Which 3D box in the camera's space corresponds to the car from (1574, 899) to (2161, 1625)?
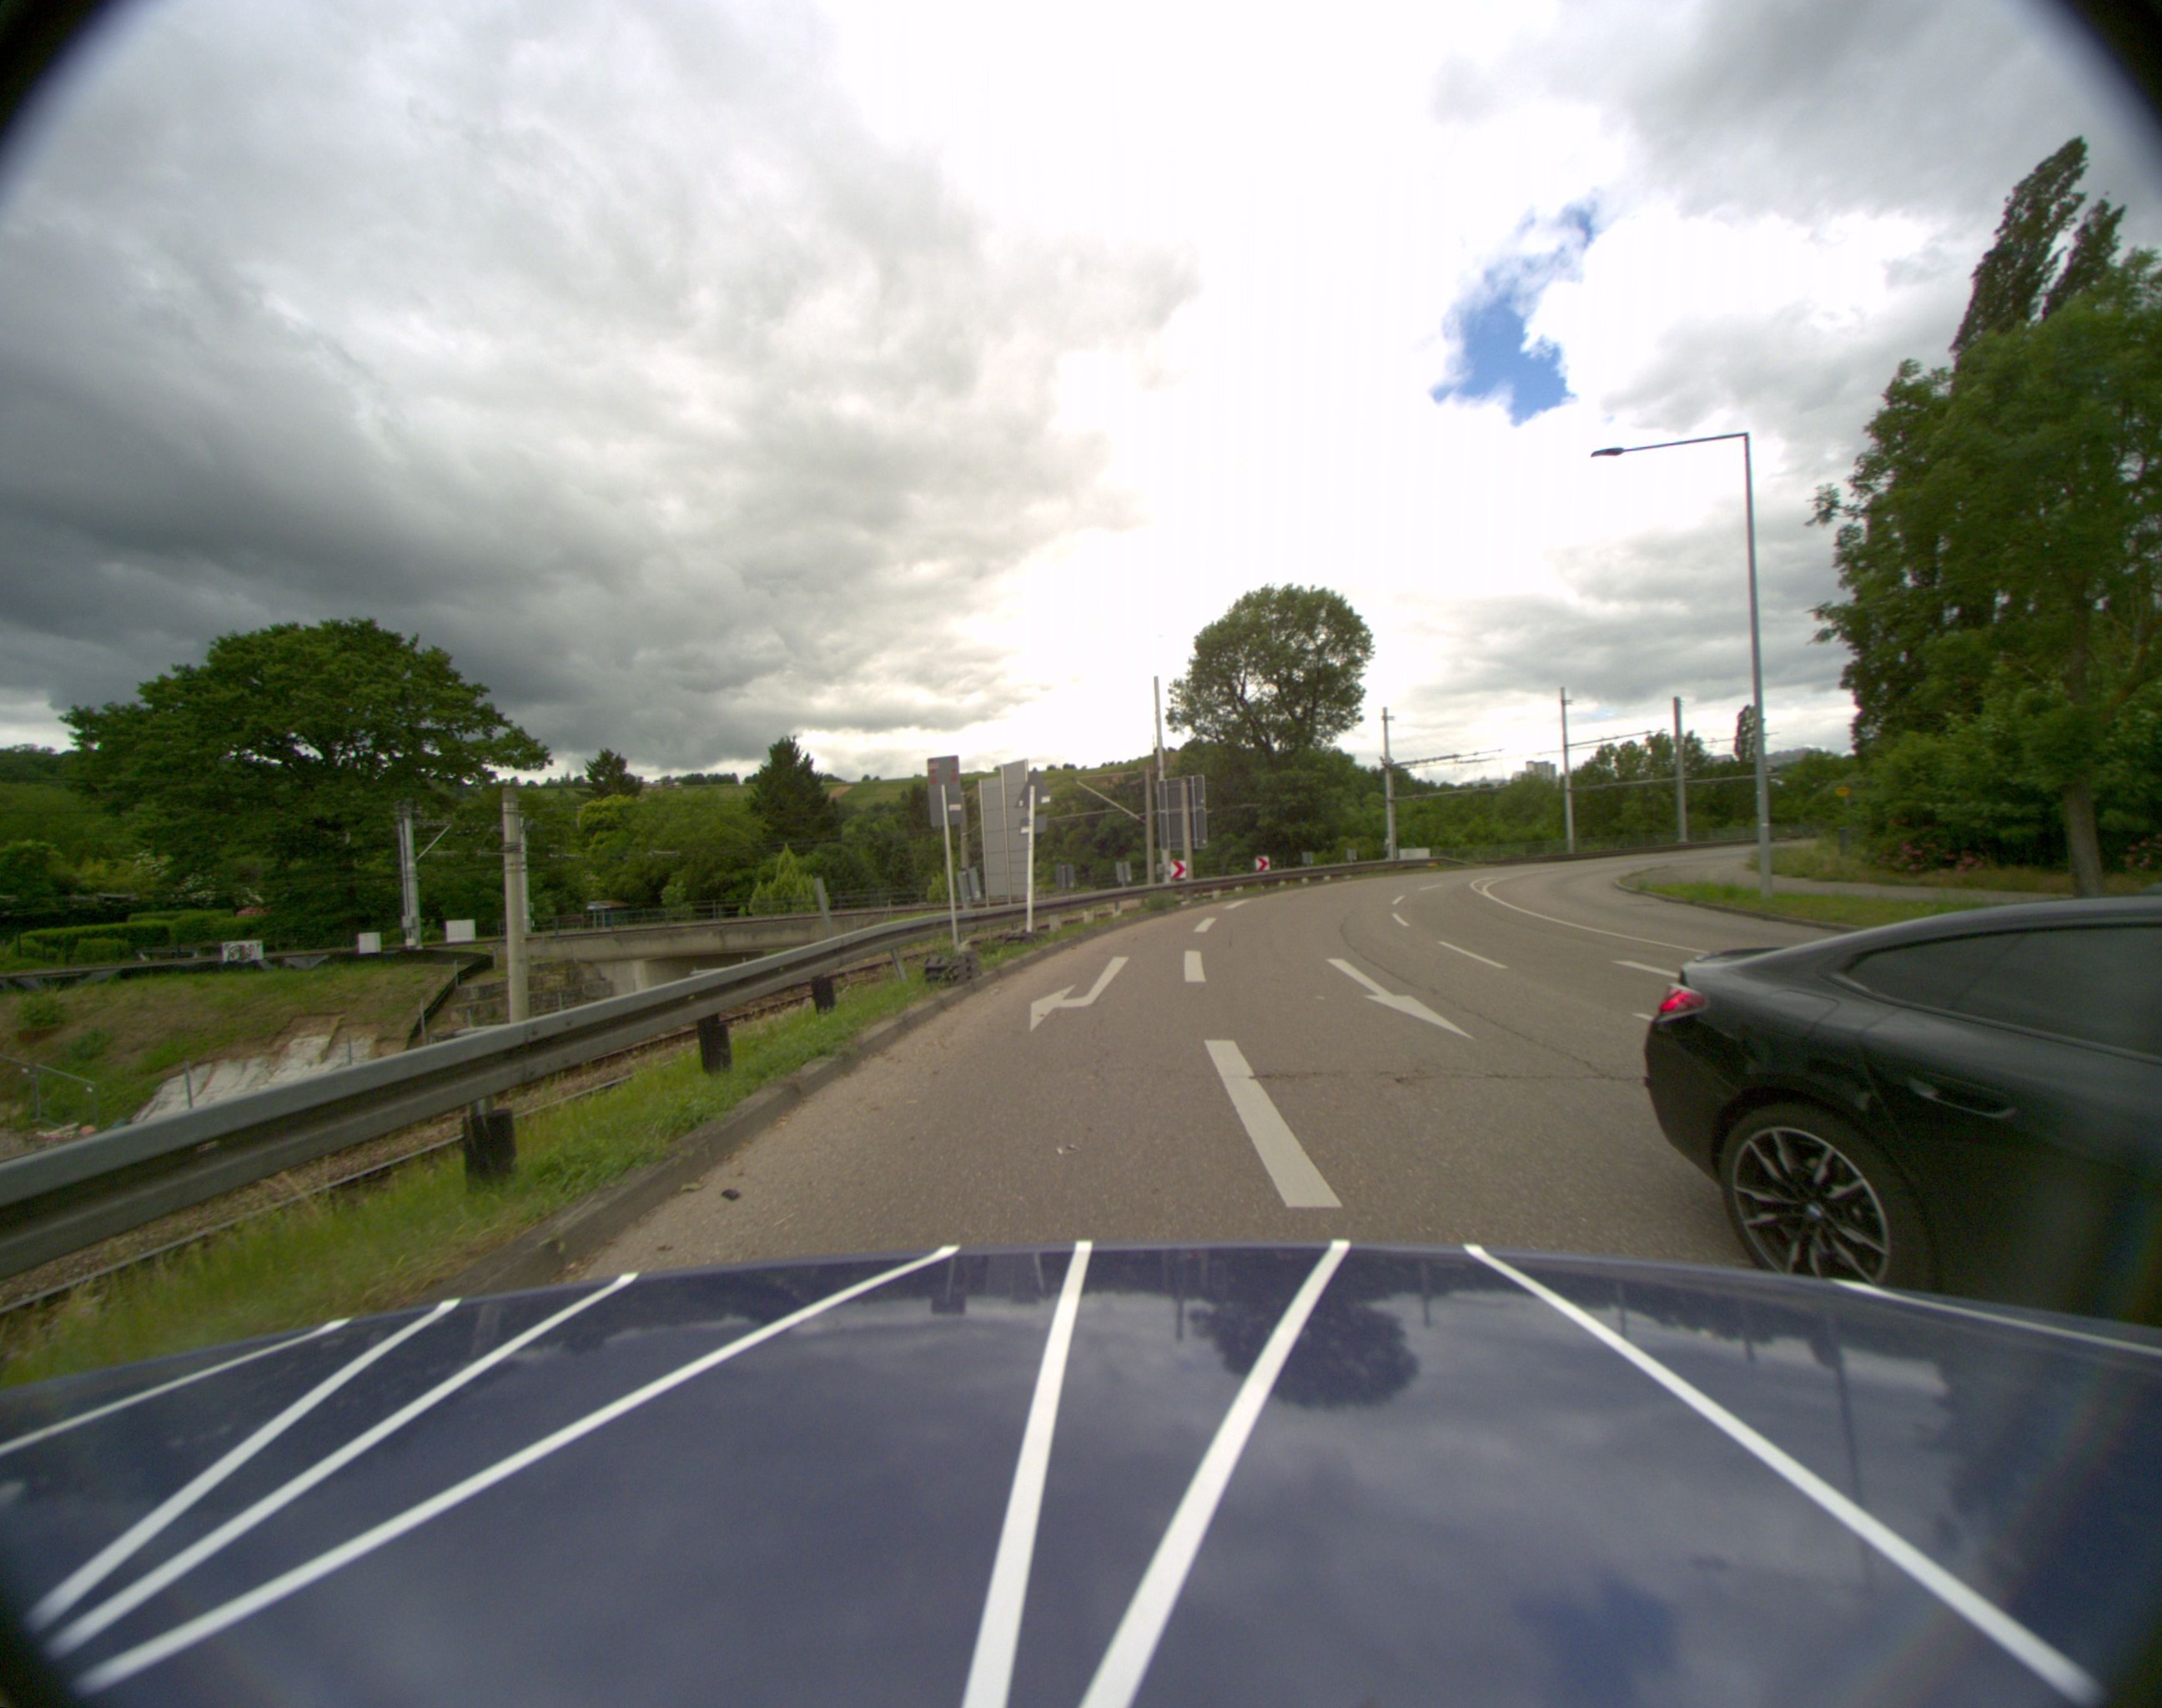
[{"bbox_3d":[3.295,0.943,1.147,1.877,1.468,4.964,0,0,0],"label":"car"}]
